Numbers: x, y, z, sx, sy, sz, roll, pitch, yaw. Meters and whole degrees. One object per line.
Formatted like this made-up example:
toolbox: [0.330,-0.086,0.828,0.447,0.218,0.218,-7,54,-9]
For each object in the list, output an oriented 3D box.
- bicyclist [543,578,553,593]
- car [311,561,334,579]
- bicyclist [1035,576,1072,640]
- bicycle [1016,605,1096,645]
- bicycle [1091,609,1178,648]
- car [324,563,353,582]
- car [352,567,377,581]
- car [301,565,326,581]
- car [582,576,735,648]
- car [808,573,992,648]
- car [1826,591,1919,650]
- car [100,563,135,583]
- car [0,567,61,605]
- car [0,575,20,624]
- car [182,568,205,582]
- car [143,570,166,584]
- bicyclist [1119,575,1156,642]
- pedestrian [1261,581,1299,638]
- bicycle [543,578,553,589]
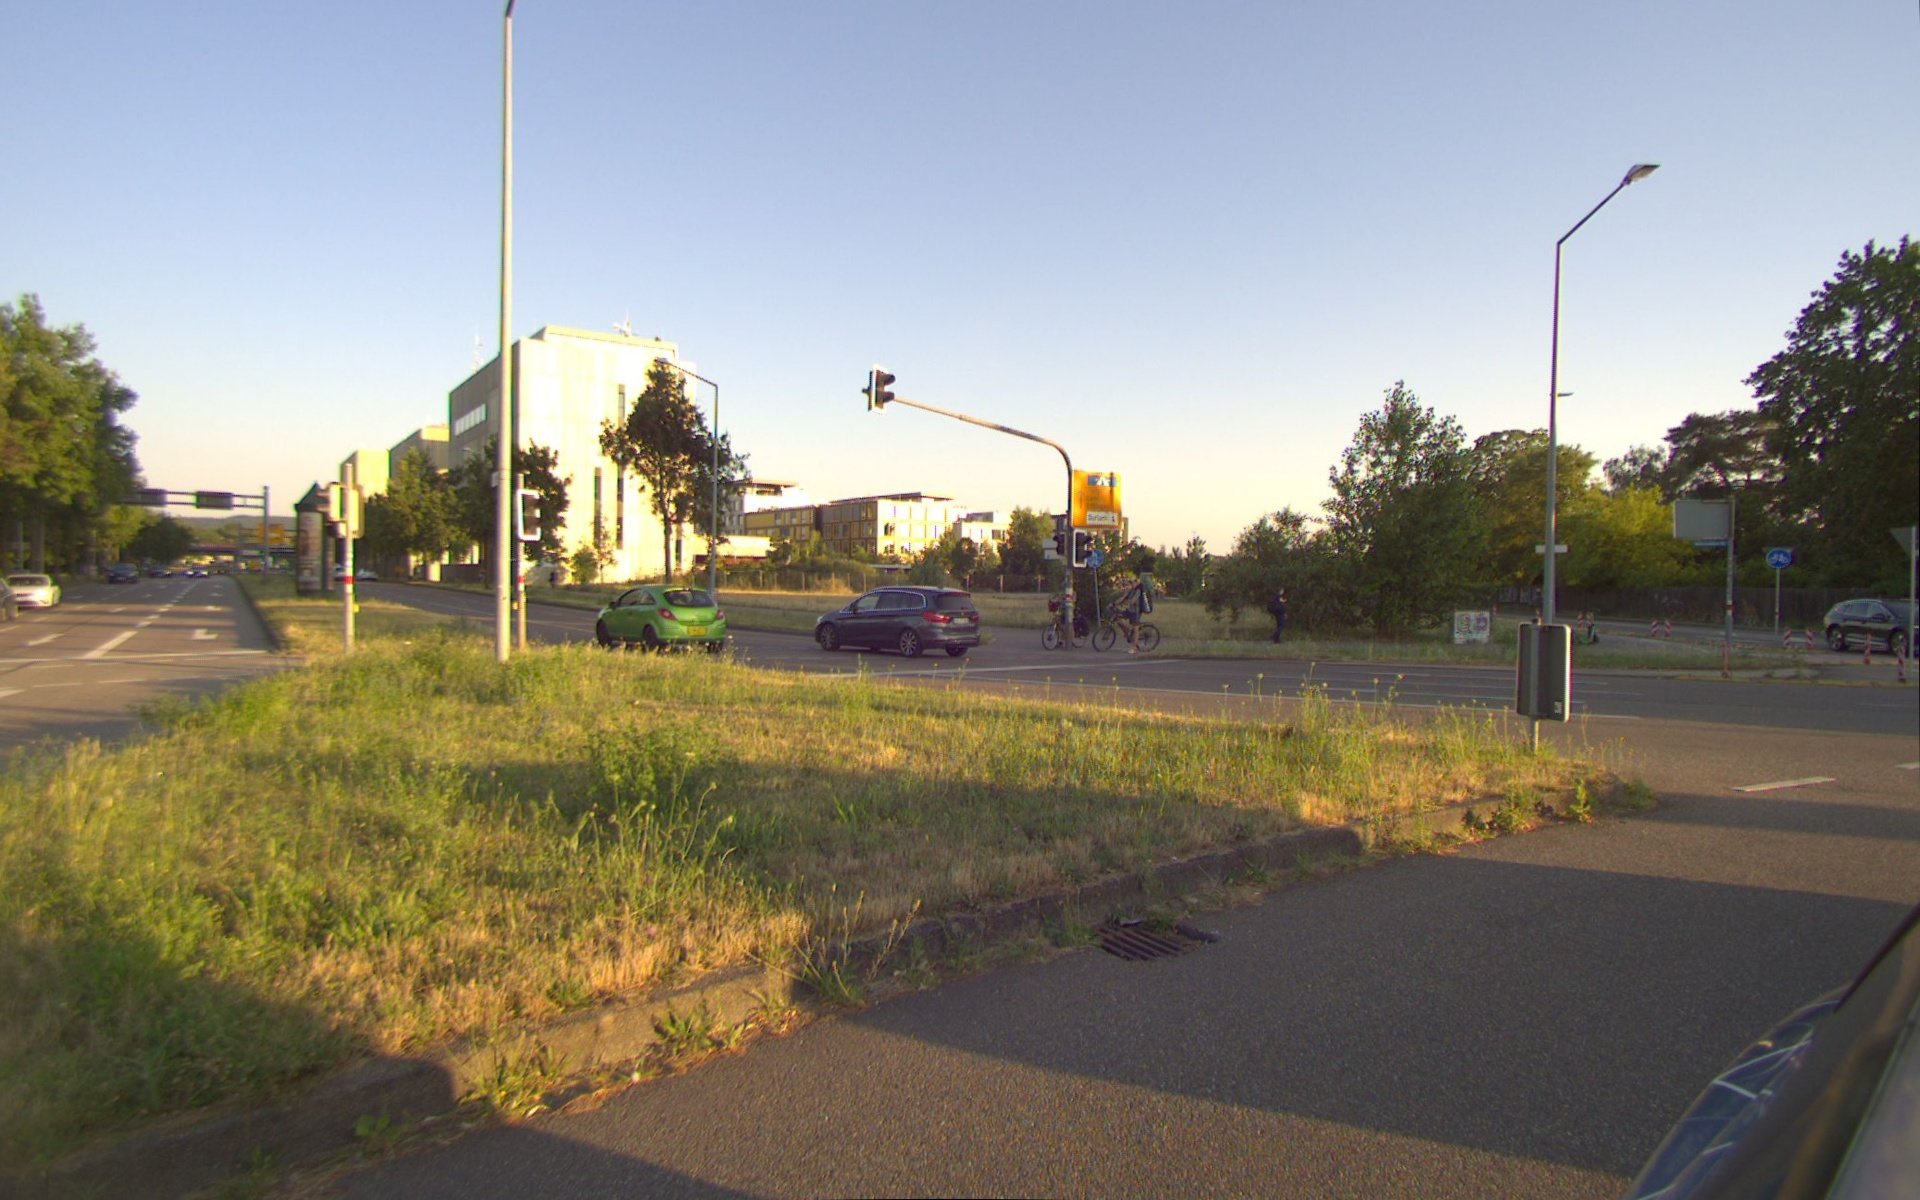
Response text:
bicyclist: [-33.560,-1.178,82.473,0.606,1.272,0.735,0,1,-34]
car: [-74.330,-3.513,117.990,2.029,1.971,4.960,0,1,-36]
bicyclist: [2.515,0.211,27.330,0.675,1.711,0.726,0,1,-29]
bicycle: [2.601,0.662,27.348,2.065,0.975,0.711,-2,2,-27]
bicycle: [4.528,0.735,26.244,2.100,0.975,0.711,1,1,-15]
car: [-57.400,-2.532,93.409,1.962,1.649,4.000,0,1,-36]
car: [-67.632,-2.944,114.911,1.964,1.445,4.195,0,1,-38]
car: [-69.508,-2.939,108.850,1.963,1.649,3.998,0,1,-37]
car: [-6.792,0.203,22.581,1.661,1.438,3.991,0,1,-43]
car: [-1.476,0.184,23.810,4.309,1.597,1.709,2,1,40]
car: [28.061,0.571,29.786,1.968,1.617,4.301,1,1,11]
car: [-67.762,-2.178,81.439,1.880,1.603,4.180,0,1,-36]
car: [-38.368,-0.596,41.760,1.835,1.472,3.965,1,1,-41]
car: [-31.207,-0.059,31.912,1.833,1.472,4.161,0,1,-37]
car: [-85.854,-2.833,113.417,1.963,1.524,4.771,0,1,-36]
car: [-88.987,-2.519,111.841,1.964,1.524,4.617,0,1,-39]
bicyclist: [4.601,0.212,26.265,0.674,1.711,0.727,1,1,-13]
pedestrian: [9.239,0.252,29.244,0.978,1.610,0.922,1,1,16]
bicycle: [-33.581,-1.358,82.495,0.487,0.837,1.515,0,1,-35]
